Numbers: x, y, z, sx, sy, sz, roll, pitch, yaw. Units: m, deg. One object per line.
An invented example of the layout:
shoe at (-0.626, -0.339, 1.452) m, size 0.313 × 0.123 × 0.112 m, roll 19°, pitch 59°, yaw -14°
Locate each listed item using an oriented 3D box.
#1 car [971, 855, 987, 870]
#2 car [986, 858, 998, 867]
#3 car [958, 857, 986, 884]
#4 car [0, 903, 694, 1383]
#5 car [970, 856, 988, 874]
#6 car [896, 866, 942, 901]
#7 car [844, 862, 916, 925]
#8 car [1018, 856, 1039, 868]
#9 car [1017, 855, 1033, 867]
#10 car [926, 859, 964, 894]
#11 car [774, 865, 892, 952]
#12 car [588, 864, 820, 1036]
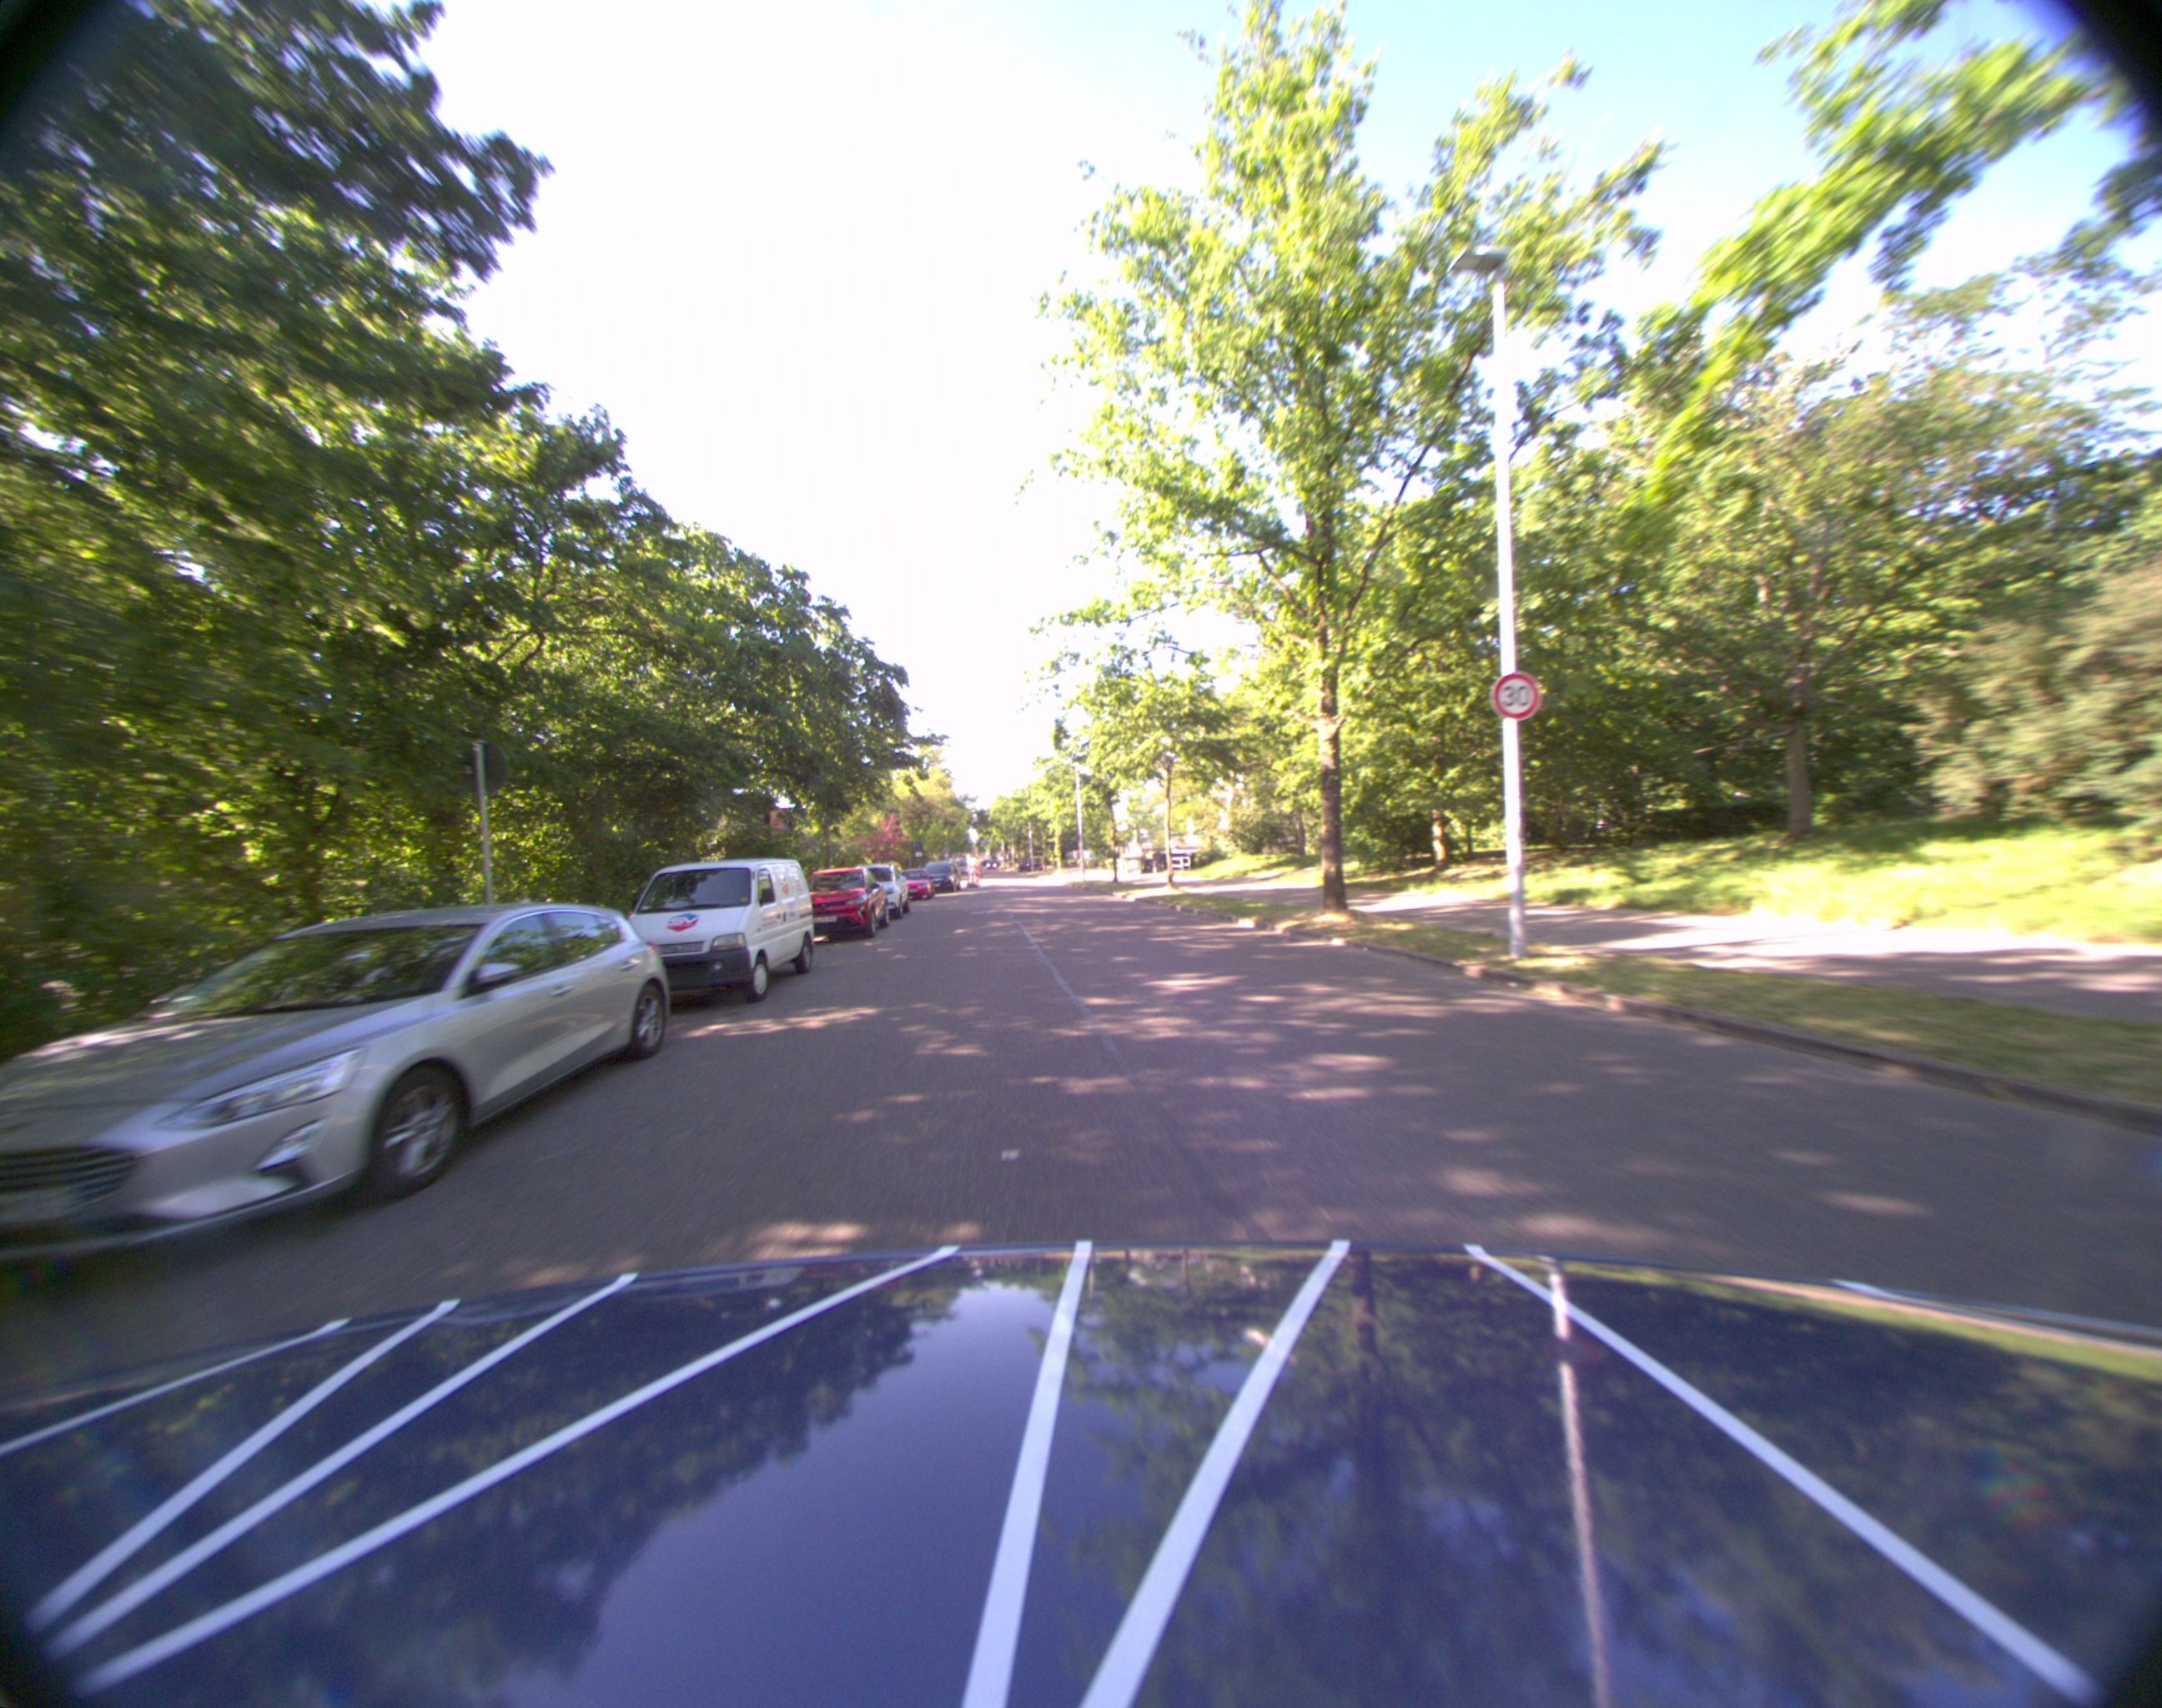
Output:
car at (-11.638, 0.925, 86.708) m, size 1.422 × 1.644 × 3.908 m, roll -3°, pitch 0°, yaw -4°
car at (-15.646, 1.430, 133.264) m, size 2.000 × 1.359 × 3.996 m, roll -3°, pitch 1°, yaw -9°
car at (-7.125, 1.052, 49.924) m, size 1.450 × 1.644 × 3.718 m, roll -3°, pitch 0°, yaw -4°
car at (-4.422, 1.234, 5.006) m, size 1.723 × 1.436 × 4.611 m, roll -5°, pitch 0°, yaw -7°
car at (-9.922, 1.024, 73.950) m, size 1.422 × 1.644 × 3.908 m, roll -3°, pitch 0°, yaw -4°
car at (-7.252, 1.293, 34.295) m, size 1.500 × 1.351 × 3.465 m, roll -3°, pitch 0°, yaw -4°
car at (-6.037, 1.132, 23.158) m, size 1.501 × 1.629 × 3.751 m, roll -3°, pitch 0°, yaw -7°
car at (-6.518, 1.005, 93.684) m, size 2.001 × 1.359 × 3.995 m, roll -3°, pitch 1°, yaw -13°
car at (-8.442, 1.010, 114.080) m, size 2.000 × 1.574 × 3.996 m, roll -3°, pitch 1°, yaw -9°
car at (-7.215, 1.140, 40.600) m, size 1.500 × 1.644 × 4.090 m, roll -3°, pitch 0°, yaw -4°
car at (-5.548, 1.144, 17.480) m, size 1.773 × 1.629 × 3.751 m, roll -3°, pitch 0°, yaw -7°
car at (-4.778, 1.068, 10.242) m, size 1.501 × 1.744 × 3.799 m, roll -3°, pitch 0°, yaw -7°
